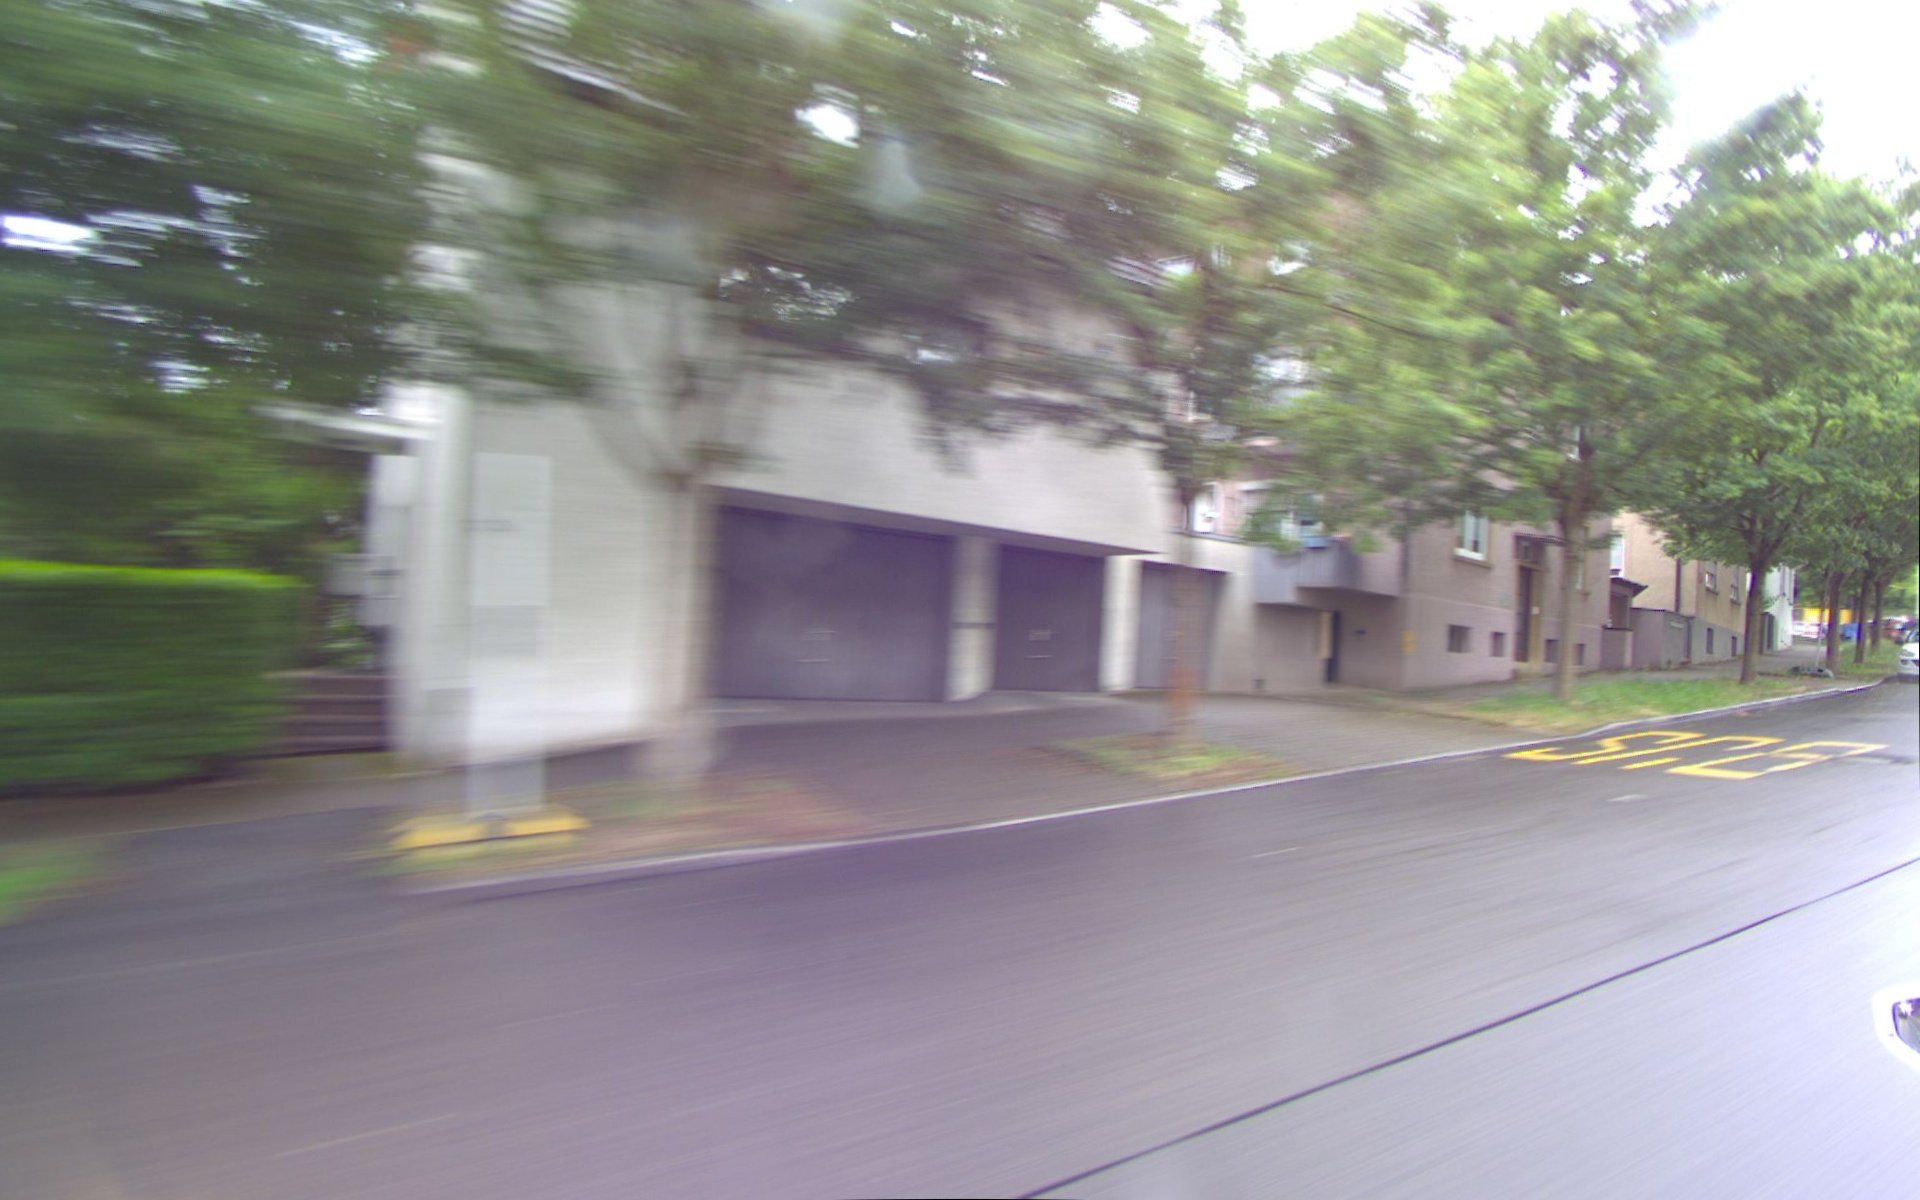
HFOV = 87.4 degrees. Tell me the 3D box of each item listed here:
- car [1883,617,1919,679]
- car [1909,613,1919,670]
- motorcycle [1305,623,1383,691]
[{"bbox_3d":[25.397,1.223,26.049,3.974,1.550,1.974,1,-2,-45],"label":"car"},{"bbox_3d":[29.036,1.199,29.265,3.974,1.617,1.859,1,-2,-45],"label":"car"},{"bbox_3d":[7.282,1.049,19.013,1.684,1.174,0.609,-1,1,-39],"label":"motorcycle"}]
